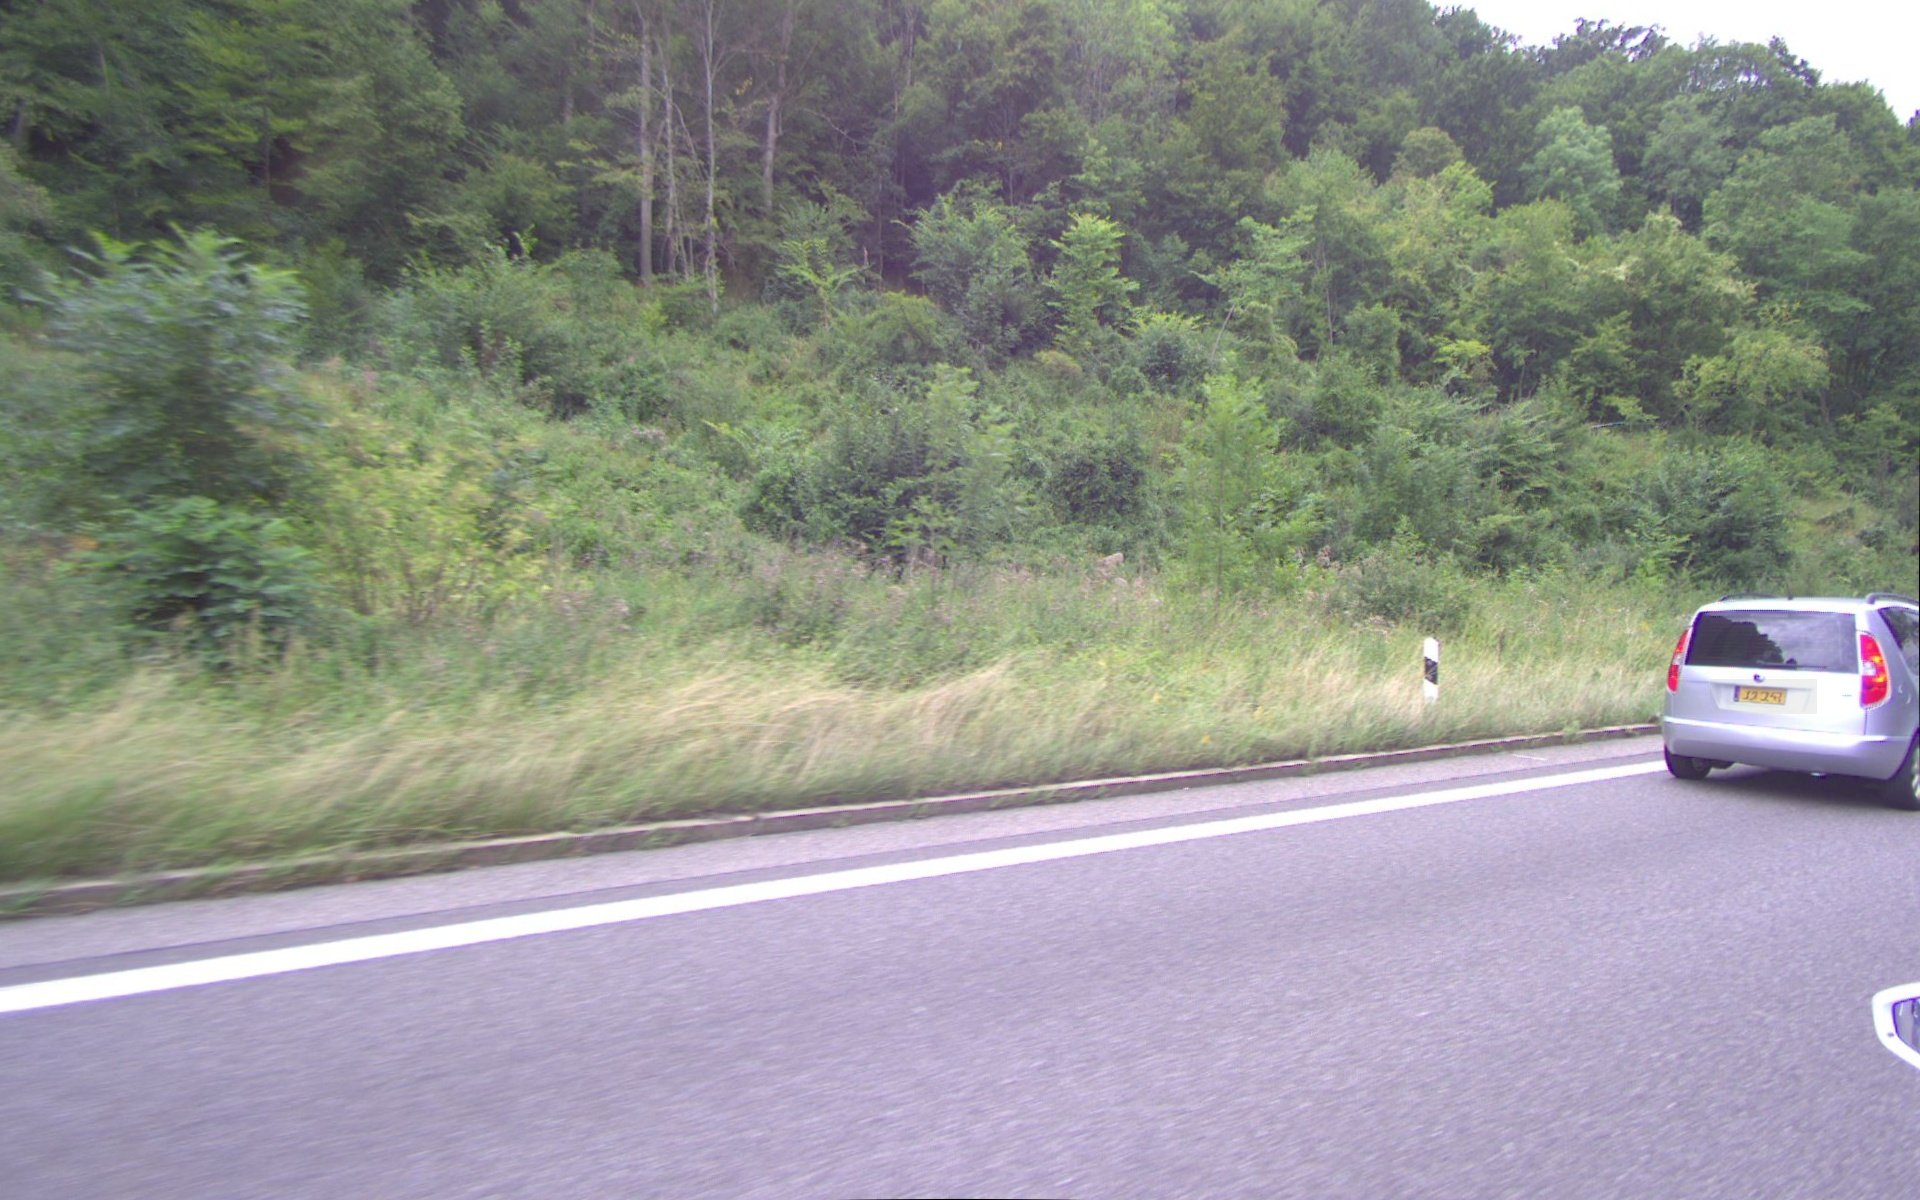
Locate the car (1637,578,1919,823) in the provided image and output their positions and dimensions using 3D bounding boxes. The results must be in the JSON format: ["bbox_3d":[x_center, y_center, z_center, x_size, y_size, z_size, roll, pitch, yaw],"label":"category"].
[{"bbox_3d":[8.027,0.749,8.997,4.296,1.749,1.625,1,0,-32],"label":"car"}]
